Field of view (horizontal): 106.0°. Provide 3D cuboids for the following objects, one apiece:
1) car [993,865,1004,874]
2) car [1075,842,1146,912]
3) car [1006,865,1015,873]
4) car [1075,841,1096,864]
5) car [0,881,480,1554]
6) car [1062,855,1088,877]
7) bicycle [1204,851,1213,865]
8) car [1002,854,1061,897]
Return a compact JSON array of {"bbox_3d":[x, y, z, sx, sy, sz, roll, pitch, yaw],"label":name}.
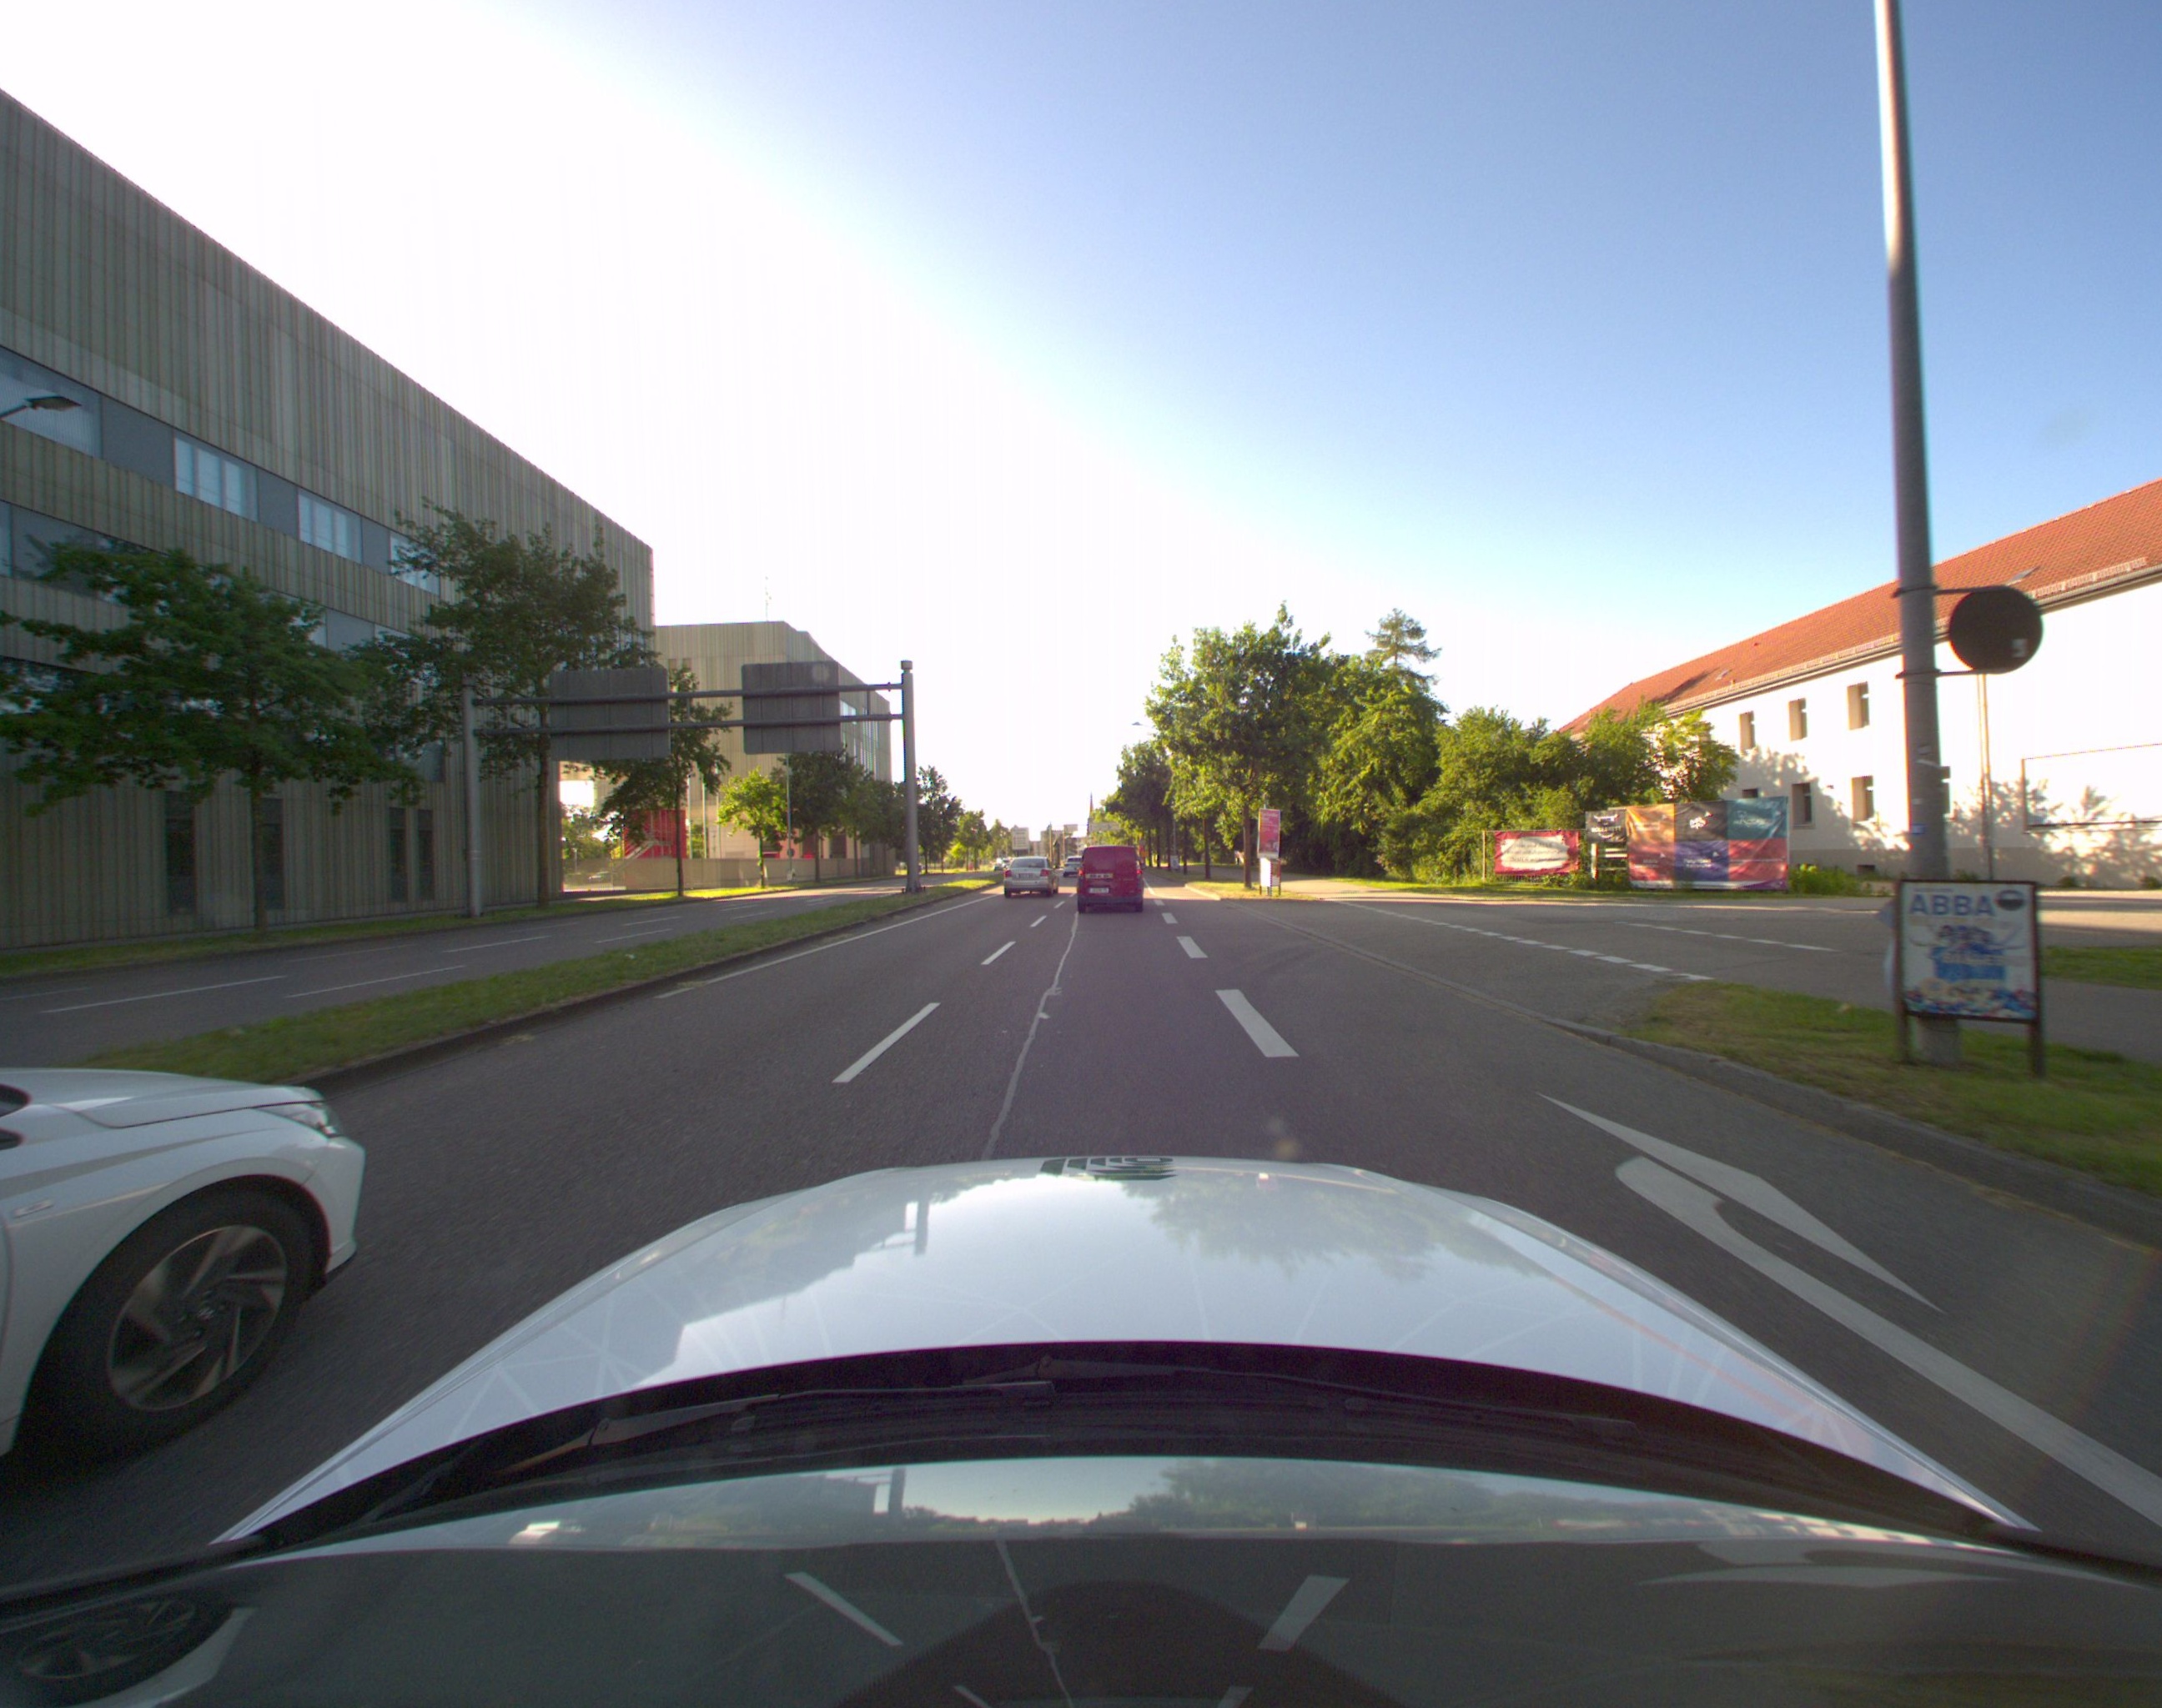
[{"bbox_3d":[-14.619,2.718,144.334,1.441,1.436,3.458,-2,0,-1],"label":"car"},{"bbox_3d":[0.779,0.588,22.893,1.800,1.759,4.006,-1,0,0],"label":"car"},{"bbox_3d":[-14.727,3.108,169.645,1.546,1.508,4.025,-2,0,-1],"label":"car"},{"bbox_3d":[0.411,-0.103,70.323,1.656,1.856,3.559,-2,0,0],"label":"car"},{"bbox_3d":[-3.258,0.832,1.098,1.771,1.409,4.076,-1,0,1],"label":"car"},{"bbox_3d":[-0.385,0.790,56.378,1.656,1.398,3.559,-2,0,0],"label":"car"},{"bbox_3d":[10.855,0.345,69.326,0.769,1.131,1.713,-2,0,9],"label":"bicycle"},{"bbox_3d":[-1.780,0.749,30.442,1.834,1.456,4.163,-1,0,1],"label":"car"}]
